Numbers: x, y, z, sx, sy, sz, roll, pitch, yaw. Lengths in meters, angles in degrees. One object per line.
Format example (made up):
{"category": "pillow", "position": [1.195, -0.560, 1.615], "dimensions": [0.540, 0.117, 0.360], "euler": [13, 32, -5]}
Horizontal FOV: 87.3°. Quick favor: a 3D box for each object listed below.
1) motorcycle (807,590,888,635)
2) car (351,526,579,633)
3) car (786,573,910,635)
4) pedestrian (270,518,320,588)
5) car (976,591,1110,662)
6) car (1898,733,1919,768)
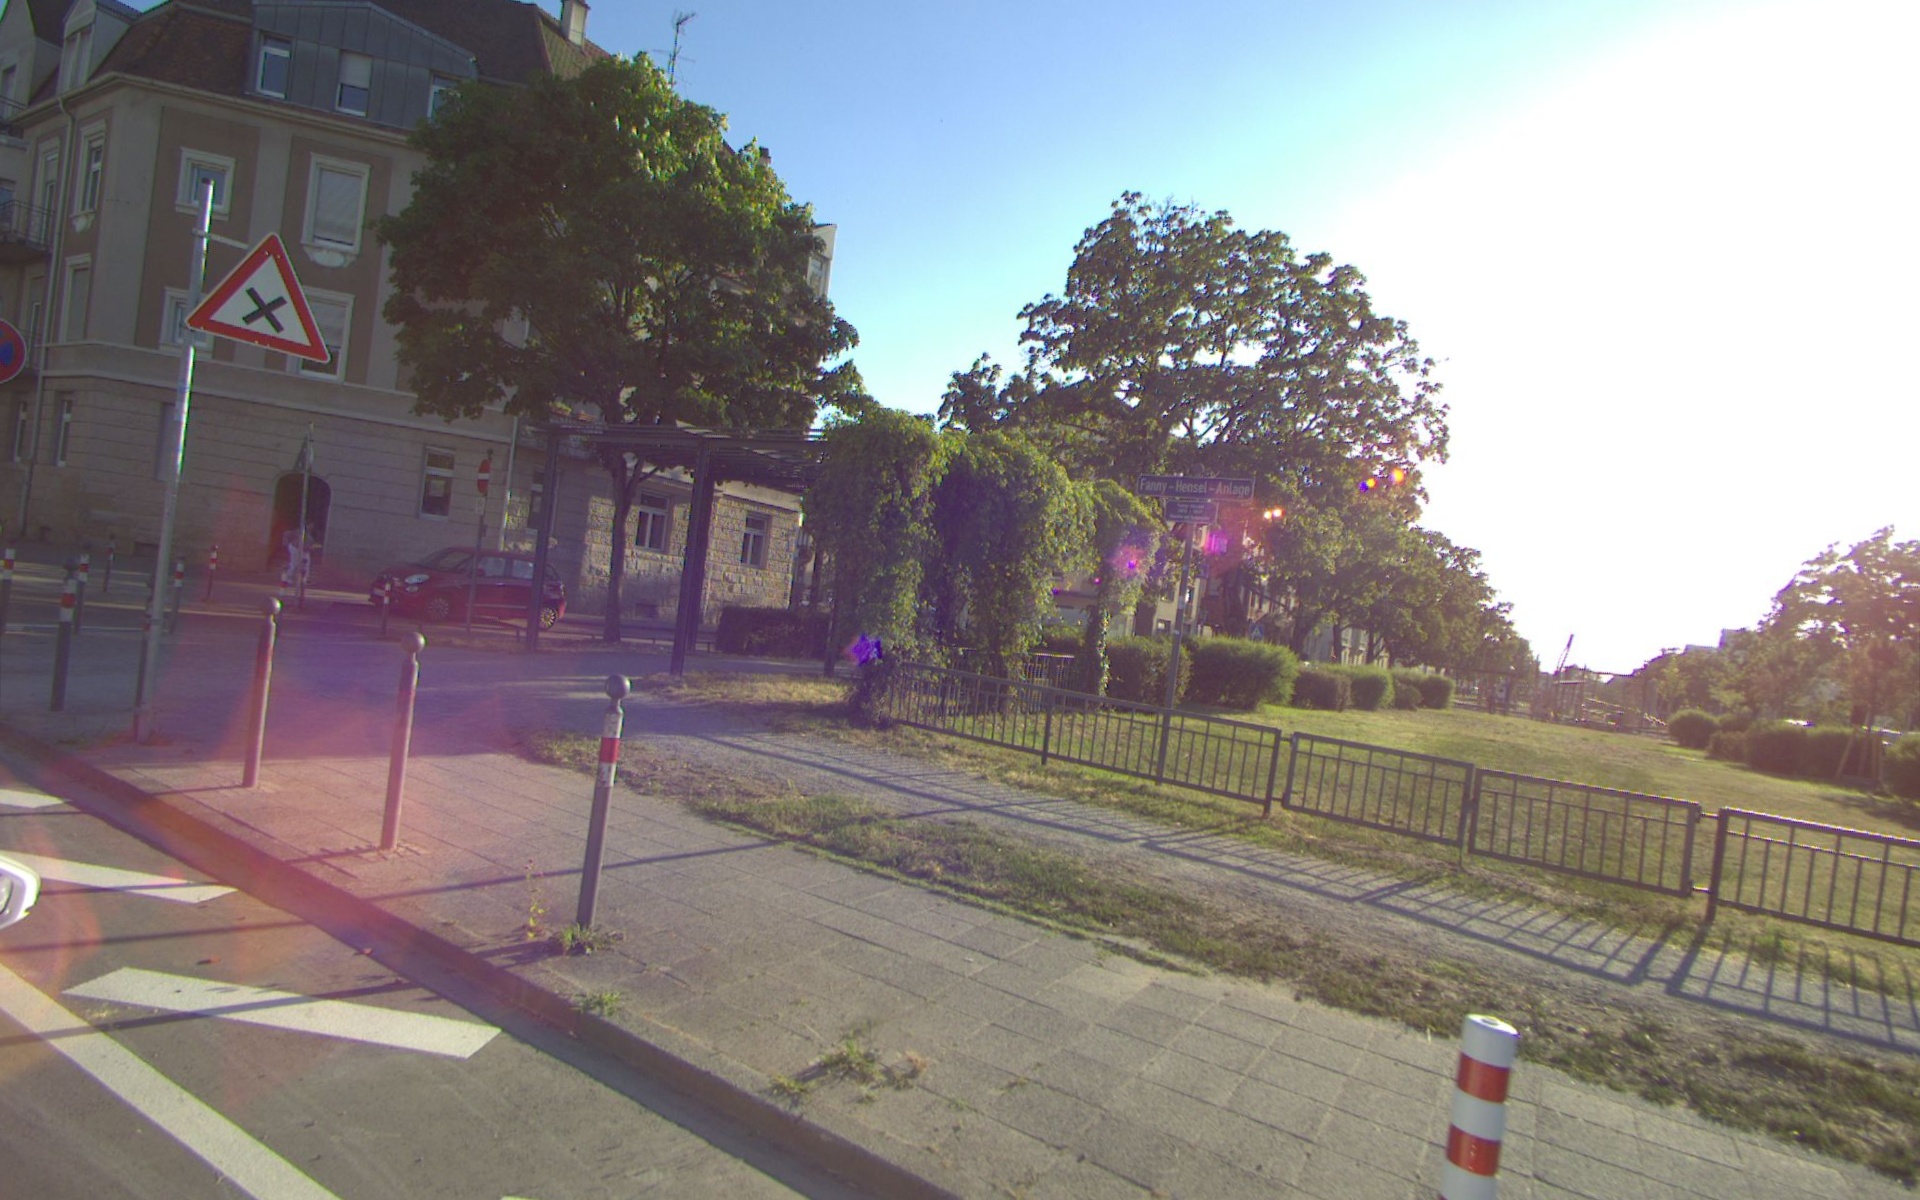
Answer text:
{"category": "motorcycle", "position": [-4.734, 0.509, 42.219], "dimensions": [3.171, 1.505, 0.854], "euler": [7, -1, 21]}
{"category": "car", "position": [-10.960, -0.397, 22.549], "dimensions": [1.782, 1.762, 4.079], "euler": [10, 1, 33]}
{"category": "car", "position": [-3.692, 0.173, 33.816], "dimensions": [1.782, 1.551, 4.079], "euler": [9, 0, 33]}
{"category": "pedestrian", "position": [-16.157, -1.141, 24.435], "dimensions": [0.815, 1.564, 0.734], "euler": [7, 2, -38]}
{"category": "car", "position": [4.301, 1.373, 52.570], "dimensions": [6.564, 2.778, 2.318], "euler": [8, 0, 3]}
{"category": "car", "position": [63.875, 10.057, 66.362], "dimensions": [1.967, 2.149, 3.992], "euler": [8, -1, 32]}
